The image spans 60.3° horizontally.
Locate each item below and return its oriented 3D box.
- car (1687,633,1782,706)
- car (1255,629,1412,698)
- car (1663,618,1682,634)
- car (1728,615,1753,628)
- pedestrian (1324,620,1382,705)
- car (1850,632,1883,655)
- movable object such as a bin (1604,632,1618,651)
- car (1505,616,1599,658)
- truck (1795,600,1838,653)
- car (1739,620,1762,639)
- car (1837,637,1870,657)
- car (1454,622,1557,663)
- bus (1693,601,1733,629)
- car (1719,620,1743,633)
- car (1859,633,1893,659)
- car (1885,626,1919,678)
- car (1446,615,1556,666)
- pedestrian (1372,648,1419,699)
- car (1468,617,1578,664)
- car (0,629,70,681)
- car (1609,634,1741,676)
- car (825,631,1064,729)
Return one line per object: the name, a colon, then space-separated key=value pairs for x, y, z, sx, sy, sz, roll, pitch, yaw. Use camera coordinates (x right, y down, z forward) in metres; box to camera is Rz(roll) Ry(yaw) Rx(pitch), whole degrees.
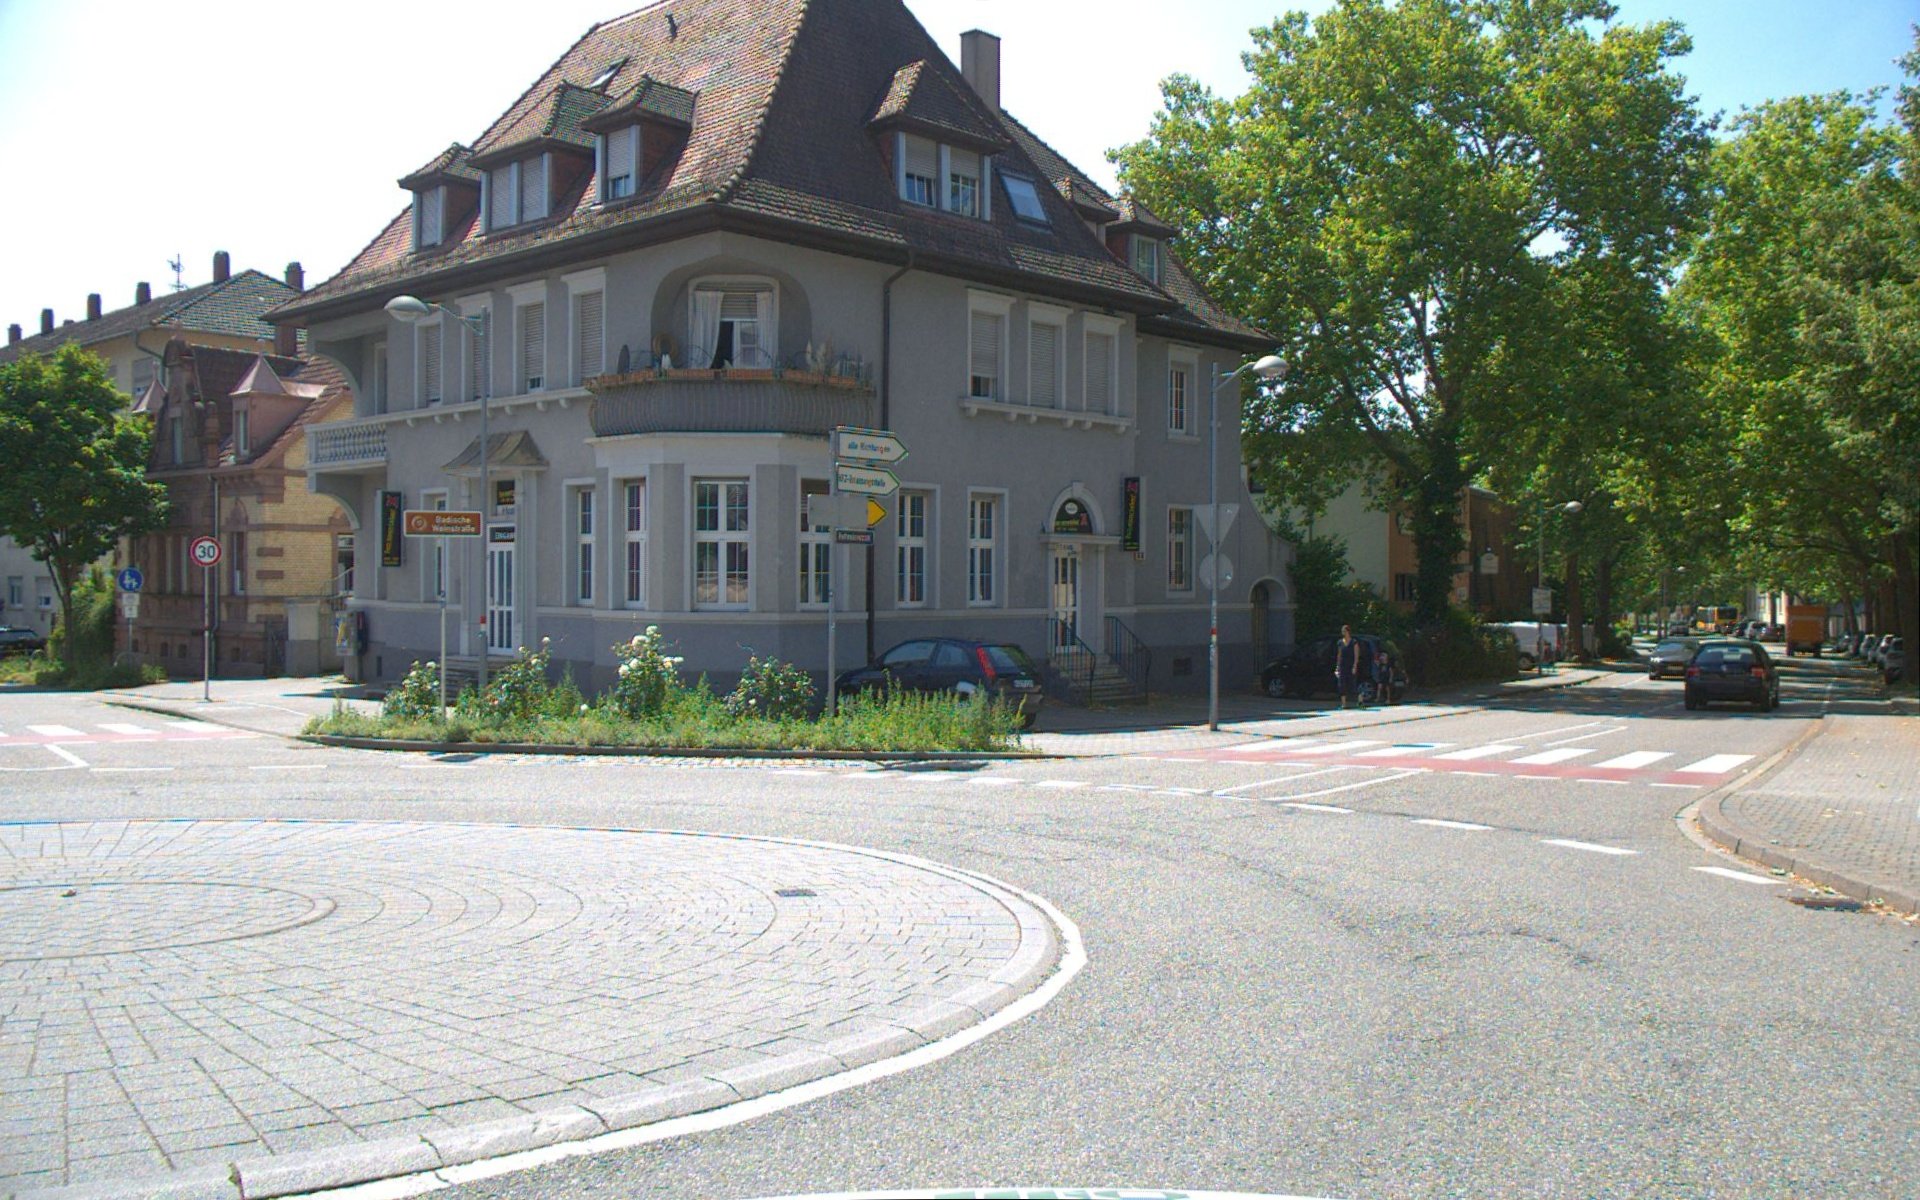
car: x=17.037 y=1.474 z=36.304 sx=1.678 sy=1.473 sz=4.052 roll=0 pitch=-1 yaw=28
car: x=9.005 y=1.511 z=39.964 sx=3.328 sy=1.574 sz=1.716 roll=0 pitch=-1 yaw=39
car: x=76.907 y=2.818 z=178.518 sx=1.953 sy=1.695 sz=3.998 roll=0 pitch=-2 yaw=24
car: x=81.166 y=2.242 z=172.089 sx=1.729 sy=1.398 sz=3.732 roll=-1 pitch=-1 yaw=15
pedestrian: x=8.333 y=1.311 z=35.044 sx=0.857 sy=1.773 sz=1.108 roll=-1 pitch=-2 yaw=35
car: x=59.953 y=2.882 z=109.457 sx=1.732 sy=1.491 sz=3.871 roll=-1 pitch=-1 yaw=27
movable object such as a bin: x=37.435 y=2.402 z=95.137 sx=0.613 sy=1.067 sz=0.618 roll=0 pitch=-1 yaw=35
car: x=28.461 y=1.761 z=79.543 sx=4.048 sy=1.836 sz=1.901 roll=2 pitch=0 yaw=26
truck: x=54.307 y=1.728 z=104.909 sx=2.324 sy=3.189 sz=5.761 roll=0 pitch=-2 yaw=27
car: x=77.034 y=2.909 z=161.140 sx=1.841 sy=1.715 sz=3.998 roll=0 pitch=-2 yaw=23
car: x=63.172 y=3.324 z=116.960 sx=1.731 sy=1.398 sz=3.728 roll=-1 pitch=-1 yaw=23
car: x=23.150 y=1.774 z=70.139 sx=3.909 sy=1.542 sz=1.866 roll=2 pitch=0 yaw=26
bus: x=88.655 y=1.818 z=194.915 sx=2.607 sy=3.206 sz=11.204 roll=0 pitch=-1 yaw=16
car: x=83.750 y=2.885 z=179.746 sx=1.729 sy=1.398 sz=3.732 roll=-1 pitch=-1 yaw=16
car: x=54.400 y=2.737 z=98.253 sx=1.546 sy=1.491 sz=3.871 roll=-1 pitch=-1 yaw=27
car: x=31.890 y=1.706 z=55.235 sx=1.708 sy=1.584 sz=4.771 roll=-2 pitch=-1 yaw=29
car: x=21.547 y=1.608 z=65.899 sx=3.909 sy=1.824 sz=1.866 roll=2 pitch=0 yaw=26
pedestrian: x=9.952 y=1.664 z=37.770 sx=0.742 sy=1.141 sz=0.893 roll=-1 pitch=-2 yaw=39
car: x=24.650 y=1.767 z=72.410 sx=4.337 sy=1.836 sz=1.901 roll=2 pitch=0 yaw=26
car: x=-29.822 y=1.696 z=51.991 sx=4.341 sy=1.535 sz=1.987 roll=-1 pitch=-2 yaw=43
car: x=25.337 y=1.930 z=58.769 sx=1.744 sy=1.451 sz=4.364 roll=1 pitch=-1 yaw=-21
car: x=-0.293 y=1.263 z=27.185 sx=3.721 sy=1.486 sz=1.716 roll=-1 pitch=-1 yaw=39
